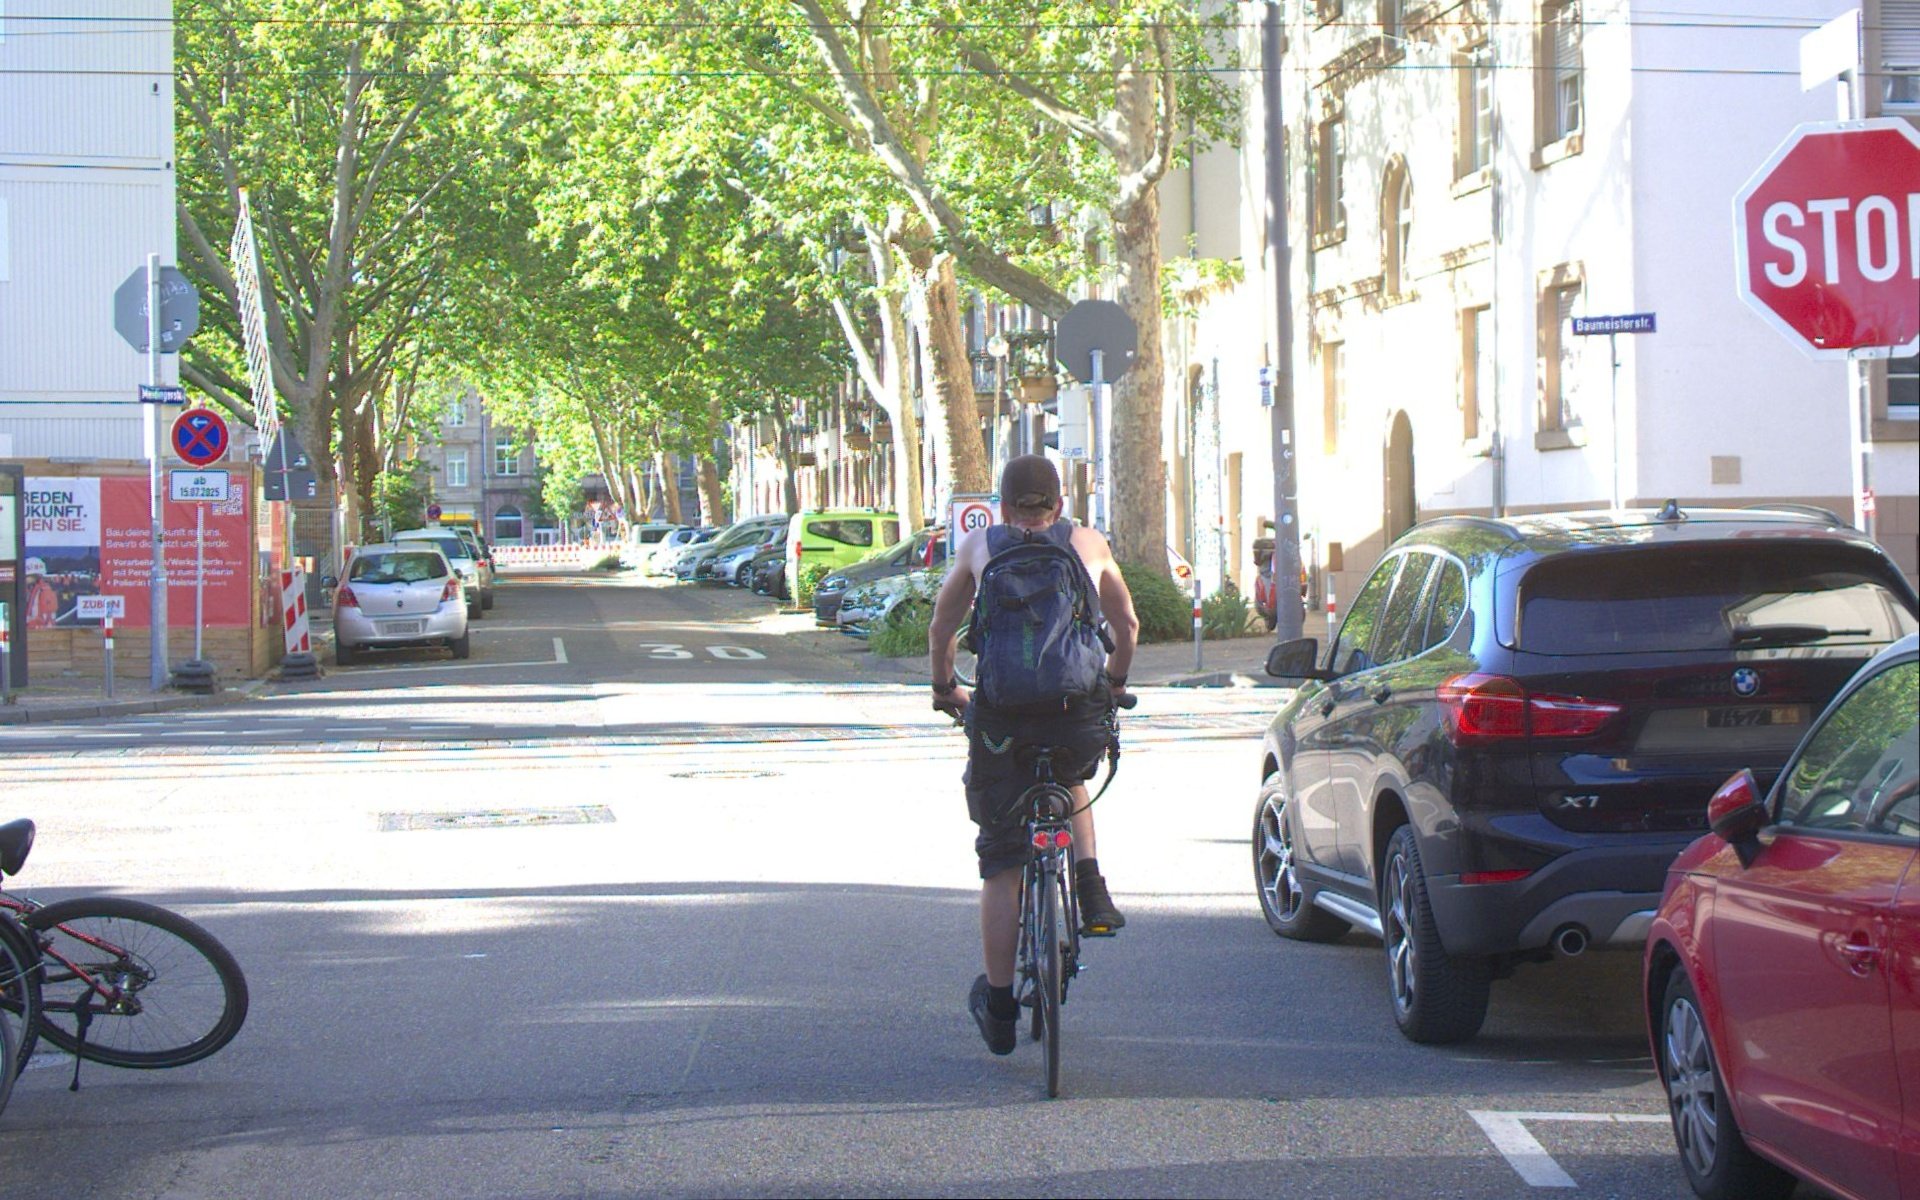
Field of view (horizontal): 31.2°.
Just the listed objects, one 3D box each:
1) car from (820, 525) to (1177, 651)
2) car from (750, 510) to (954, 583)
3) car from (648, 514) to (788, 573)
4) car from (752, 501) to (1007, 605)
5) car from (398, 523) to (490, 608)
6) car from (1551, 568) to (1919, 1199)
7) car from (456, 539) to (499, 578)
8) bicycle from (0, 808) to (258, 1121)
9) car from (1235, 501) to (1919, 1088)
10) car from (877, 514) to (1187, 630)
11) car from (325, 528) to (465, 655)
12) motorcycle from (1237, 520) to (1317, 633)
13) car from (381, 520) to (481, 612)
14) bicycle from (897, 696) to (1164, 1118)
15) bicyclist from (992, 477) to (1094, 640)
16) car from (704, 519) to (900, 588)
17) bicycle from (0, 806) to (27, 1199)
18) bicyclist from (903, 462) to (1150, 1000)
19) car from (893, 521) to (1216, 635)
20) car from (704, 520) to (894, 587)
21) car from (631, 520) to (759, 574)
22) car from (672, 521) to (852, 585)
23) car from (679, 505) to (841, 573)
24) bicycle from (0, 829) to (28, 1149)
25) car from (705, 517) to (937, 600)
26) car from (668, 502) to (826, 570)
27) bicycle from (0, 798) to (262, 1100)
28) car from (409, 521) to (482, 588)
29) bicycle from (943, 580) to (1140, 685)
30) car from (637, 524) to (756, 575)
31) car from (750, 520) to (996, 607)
[{"bbox_3d":[0.480,-0.179,45.130,4.460,1.565,1.729,-1,1,-8],"label":"car"},{"bbox_3d":[-2.474,-1.229,78.346,4.460,1.565,1.729,-1,1,-8],"label":"car"},{"bbox_3d":[-8.015,-1.876,113.600,4.460,1.891,1.729,-1,1,-8],"label":"car"},{"bbox_3d":[-1.489,-0.874,62.992,4.460,1.830,1.729,-1,1,-9],"label":"car"},{"bbox_3d":[-10.025,-0.698,66.629,1.665,1.557,4.520,-1,1,-9],"label":"car"},{"bbox_3d":[2.453,0.714,7.017,1.645,1.498,3.955,1,1,-2],"label":"car"},{"bbox_3d":[-20.124,-1.728,143.403,1.665,1.557,4.220,-1,1,-9],"label":"car"},{"bbox_3d":[-2.646,1.024,9.637,1.308,0.815,0.355,-1,1,-10],"label":"bicycle"},{"bbox_3d":[2.091,0.518,11.884,1.760,1.656,4.198,1,1,-2],"label":"car"},{"bbox_3d":[1.066,-0.438,52.169,4.460,1.665,1.729,-1,1,-8],"label":"car"},{"bbox_3d":[-7.366,-0.148,44.884,1.643,1.489,4.001,-3,2,-9],"label":"car"},{"bbox_3d":[3.800,-0.296,41.353,0.513,1.328,1.764,-1,1,-10],"label":"motorcycle"},{"bbox_3d":[-9.388,-0.621,60.957,1.665,1.557,4.001,-1,1,-9],"label":"car"},{"bbox_3d":[0.178,0.836,10.000,0.689,1.013,1.907,1,1,-1],"label":"bicycle"},{"bbox_3d":[0.853,-0.431,35.335,0.809,1.652,0.682,-1,1,-25],"label":"bicyclist"},{"bbox_3d":[-3.753,-1.110,81.418,4.460,1.565,1.729,-1,1,-8],"label":"car"},{"bbox_3d":[-3.205,1.018,8.331,1.764,0.958,0.428,-1,1,-8],"label":"bicycle"},{"bbox_3d":[0.183,0.364,10.018,0.676,1.508,0.669,1,1,0],"label":"bicyclist"},{"bbox_3d":[1.348,-0.332,50.102,4.460,1.565,1.729,-1,1,-8],"label":"car"},{"bbox_3d":[-3.946,-1.145,83.889,4.460,1.565,1.729,-1,1,-8],"label":"car"},{"bbox_3d":[-9.578,-1.917,123.974,4.460,1.891,1.729,-1,1,-8],"label":"car"},{"bbox_3d":[-5.115,-1.213,88.548,4.460,1.565,1.729,-1,1,-8],"label":"car"},{"bbox_3d":[-5.735,-1.749,98.180,4.460,1.891,1.729,-1,1,-8],"label":"car"},{"bbox_3d":[-3.236,1.078,9.159,1.386,0.815,0.362,-3,2,-10],"label":"bicycle"},{"bbox_3d":[-2.797,-0.839,68.835,4.460,1.565,1.729,-1,1,-8],"label":"car"},{"bbox_3d":[-6.253,-1.882,100.735,4.460,1.891,1.729,-1,1,-8],"label":"car"},{"bbox_3d":[-2.710,1.016,10.006,1.308,0.815,0.371,-1,1,-10],"label":"bicycle"},{"bbox_3d":[-12.471,-1.115,83.204,1.665,1.557,4.617,-1,1,-9],"label":"car"},{"bbox_3d":[0.841,0.322,35.340,1.915,1.015,0.682,-1,1,-25],"label":"bicycle"},{"bbox_3d":[-10.183,-1.972,132.820,4.460,1.891,1.729,-1,1,-8],"label":"car"},{"bbox_3d":[-1.659,-0.706,65.007,4.460,1.565,1.729,-1,1,-8],"label":"car"}]
